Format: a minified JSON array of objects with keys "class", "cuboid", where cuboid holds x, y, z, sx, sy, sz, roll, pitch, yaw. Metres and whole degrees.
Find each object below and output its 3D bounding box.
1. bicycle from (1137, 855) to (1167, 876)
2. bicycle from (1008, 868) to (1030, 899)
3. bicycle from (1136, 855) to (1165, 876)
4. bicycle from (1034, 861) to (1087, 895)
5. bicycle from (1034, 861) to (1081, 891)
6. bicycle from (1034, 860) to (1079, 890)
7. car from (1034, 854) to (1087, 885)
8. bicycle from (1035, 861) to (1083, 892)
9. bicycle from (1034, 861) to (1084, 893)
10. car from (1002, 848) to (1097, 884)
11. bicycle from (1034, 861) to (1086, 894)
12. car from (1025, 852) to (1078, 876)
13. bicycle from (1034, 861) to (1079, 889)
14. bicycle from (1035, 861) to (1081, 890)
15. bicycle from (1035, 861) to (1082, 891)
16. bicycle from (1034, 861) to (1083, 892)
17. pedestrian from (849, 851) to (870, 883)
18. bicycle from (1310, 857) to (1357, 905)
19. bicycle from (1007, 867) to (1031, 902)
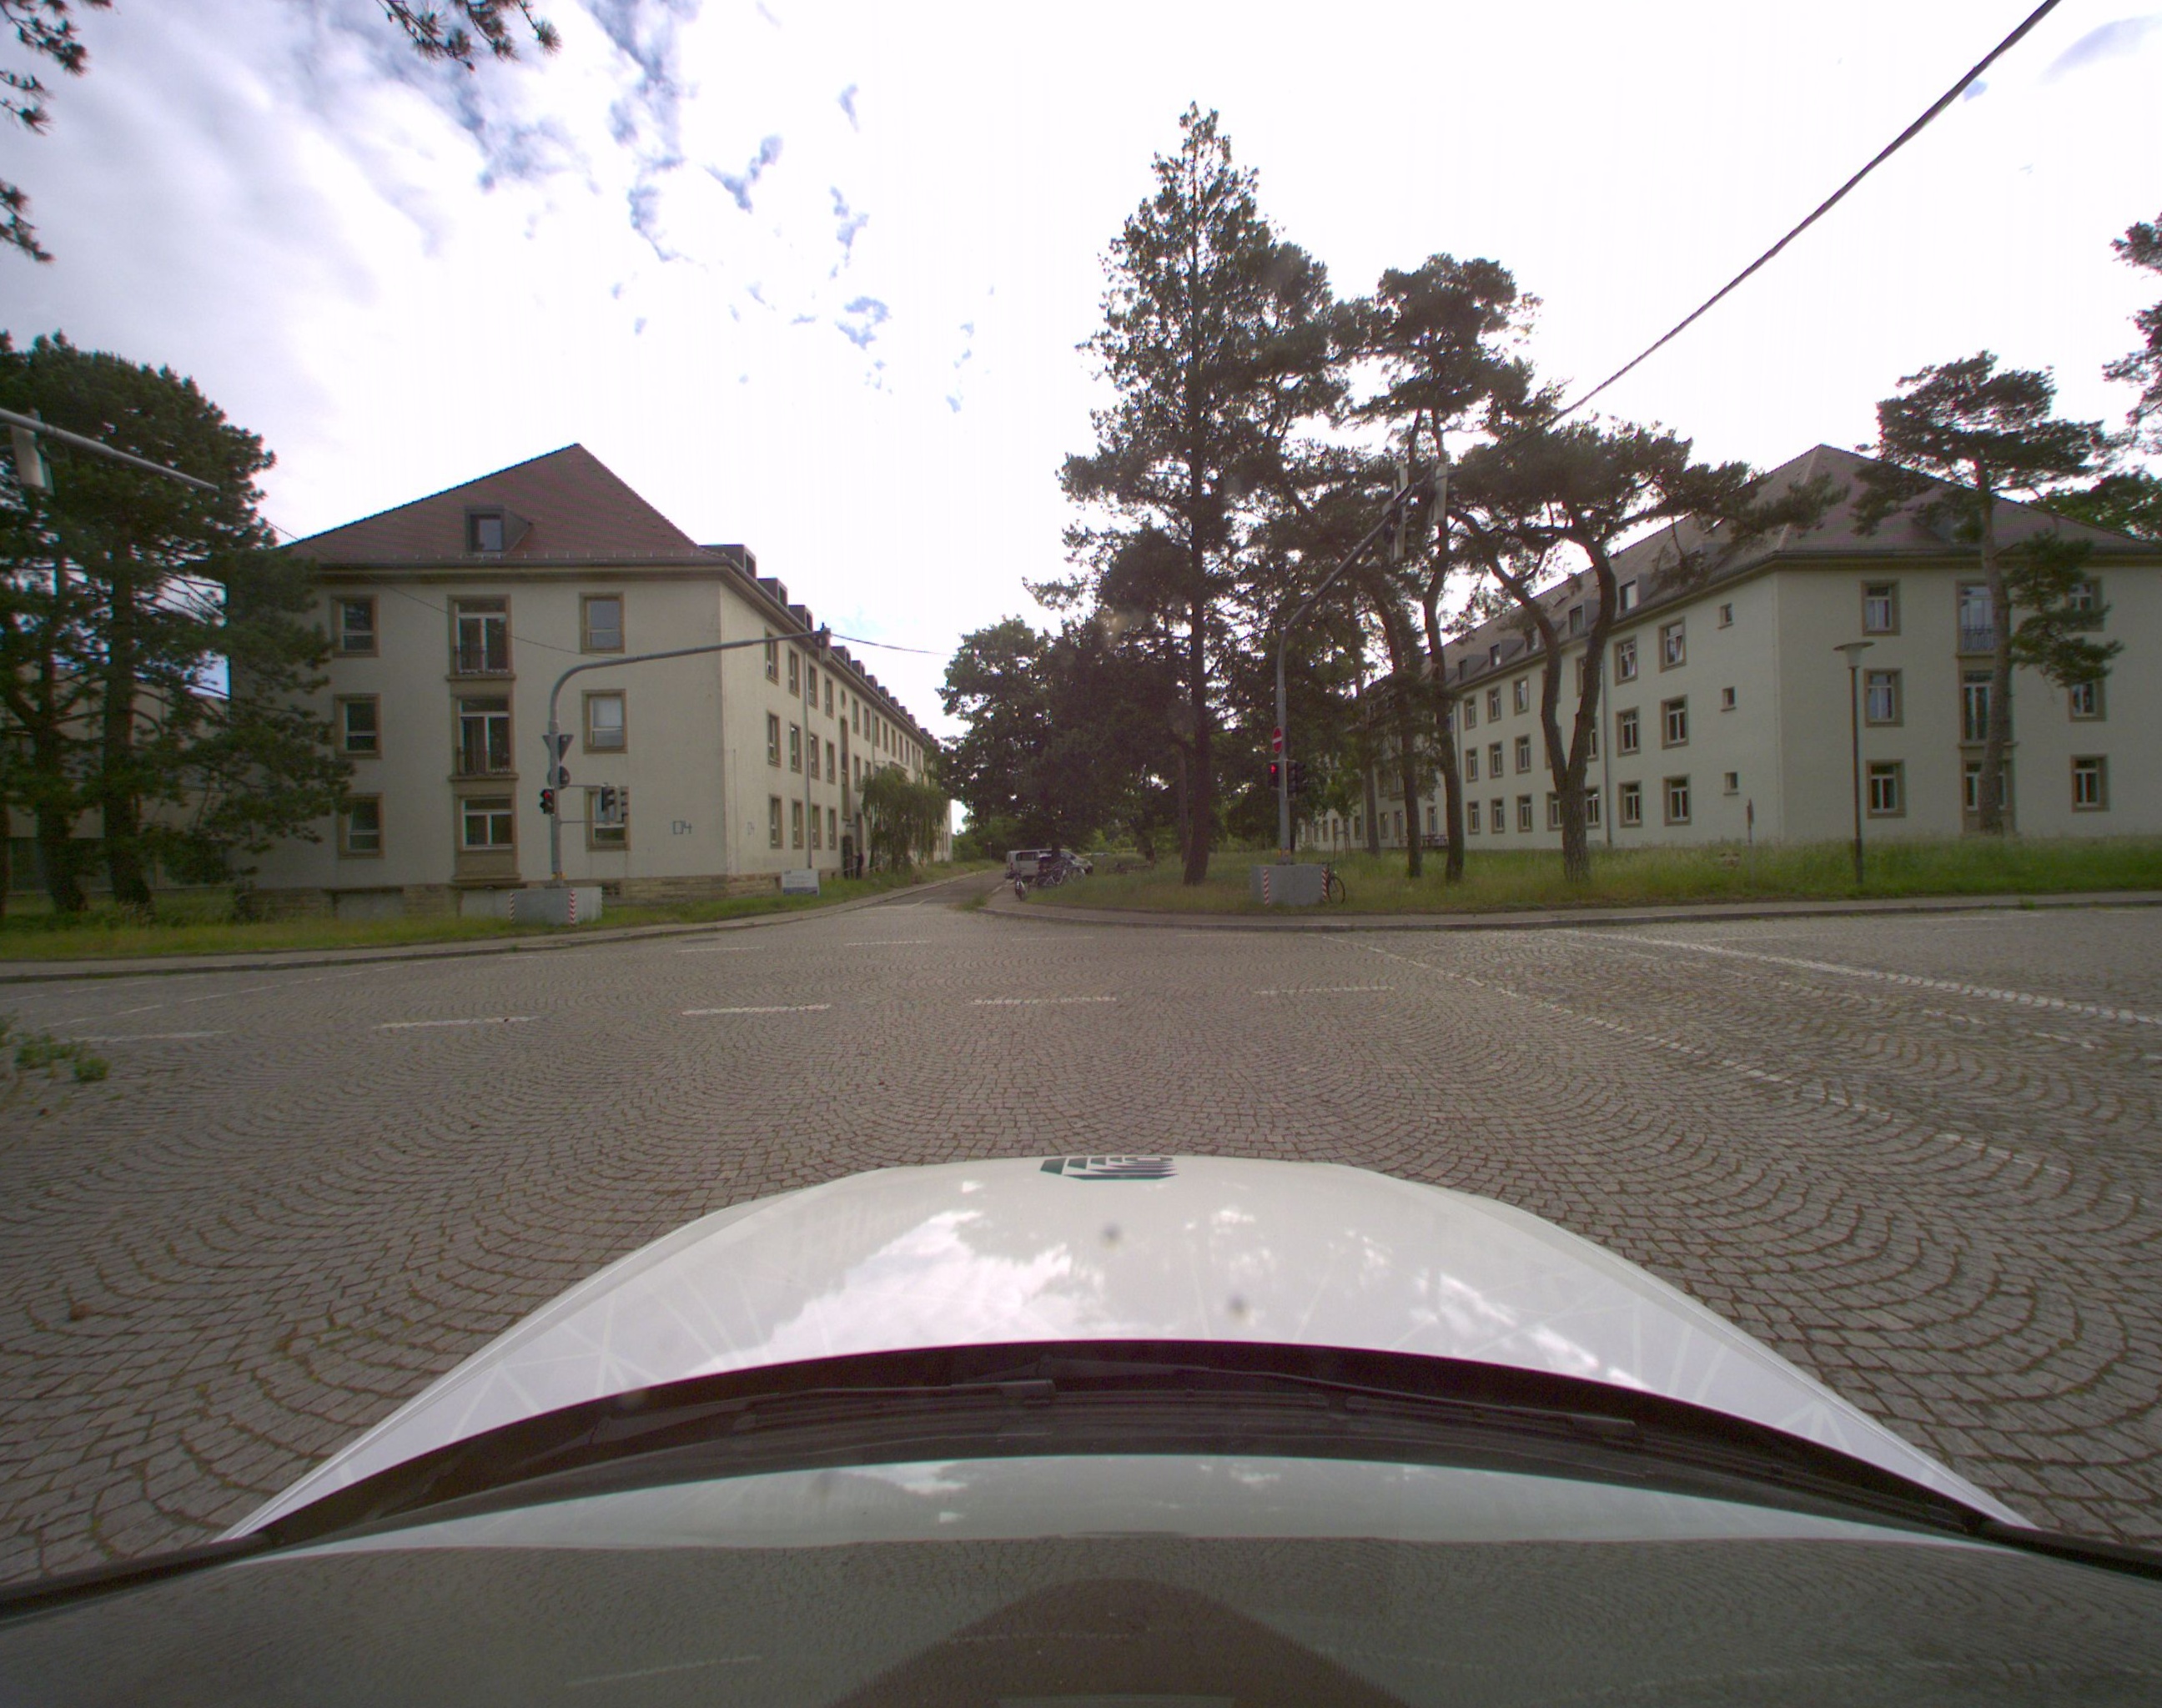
[{"class":"bicycle","cuboid":[3.910,0.621,44.821,1.544,1.124,0.401,-2,0,-1]},{"class":"bicycle","cuboid":[-2.231,1.049,29.541,0.620,1.082,1.678,-1,0,2]},{"class":"bicycle","cuboid":[3.930,0.627,46.054,1.544,1.124,0.401,-2,0,-1]},{"class":"bicycle","cuboid":[-0.792,0.893,31.031,1.978,1.248,0.623,-1,-1,-4]},{"class":"bicycle","cuboid":[-1.001,0.923,35.013,1.978,1.248,0.623,-1,-1,-4]},{"class":"bicycle","cuboid":[-1.137,0.941,37.334,1.979,1.248,0.623,-3,0,-4]},{"class":"car","cuboid":[-1.148,0.836,45.644,2.841,1.558,1.470,-2,1,-3]},{"class":"bicycle","cuboid":[-0.944,0.916,34.073,1.978,1.248,0.623,-1,-1,-4]},{"class":"bicycle","cuboid":[-0.879,0.905,32.583,1.978,1.248,0.623,-1,-1,-4]},{"class":"car","cuboid":[-1.915,0.692,49.086,5.317,1.916,2.137,-2,0,-17]},{"class":"bicycle","cuboid":[-0.822,0.898,31.659,1.978,1.248,0.623,-1,-1,-4]},{"class":"car","cuboid":[-2.301,0.767,62.959,4.023,1.718,1.679,-2,0,-4]},{"class":"bicycle","cuboid":[-1.106,0.936,36.676,1.978,1.248,0.623,-1,-1,-4]},{"class":"bicycle","cuboid":[-1.020,0.928,35.673,1.978,1.248,0.623,-1,-1,-4]},{"class":"bicycle","cuboid":[-0.953,0.920,34.598,1.978,1.248,0.623,-1,-1,-4]},{"class":"bicycle","cuboid":[-0.920,0.911,33.441,1.978,1.248,0.623,-1,-1,-4]},{"class":"pedestrian","cuboid":[-12.608,0.706,46.393,0.834,1.781,0.942,-2,0,3]},{"class":"bicycle","cuboid":[5.844,0.603,18.922,0.578,0.970,1.679,-4,2,2]},{"class":"bicycle","cuboid":[-2.074,1.018,27.593,0.620,1.113,1.989,-1,0,1]}]
